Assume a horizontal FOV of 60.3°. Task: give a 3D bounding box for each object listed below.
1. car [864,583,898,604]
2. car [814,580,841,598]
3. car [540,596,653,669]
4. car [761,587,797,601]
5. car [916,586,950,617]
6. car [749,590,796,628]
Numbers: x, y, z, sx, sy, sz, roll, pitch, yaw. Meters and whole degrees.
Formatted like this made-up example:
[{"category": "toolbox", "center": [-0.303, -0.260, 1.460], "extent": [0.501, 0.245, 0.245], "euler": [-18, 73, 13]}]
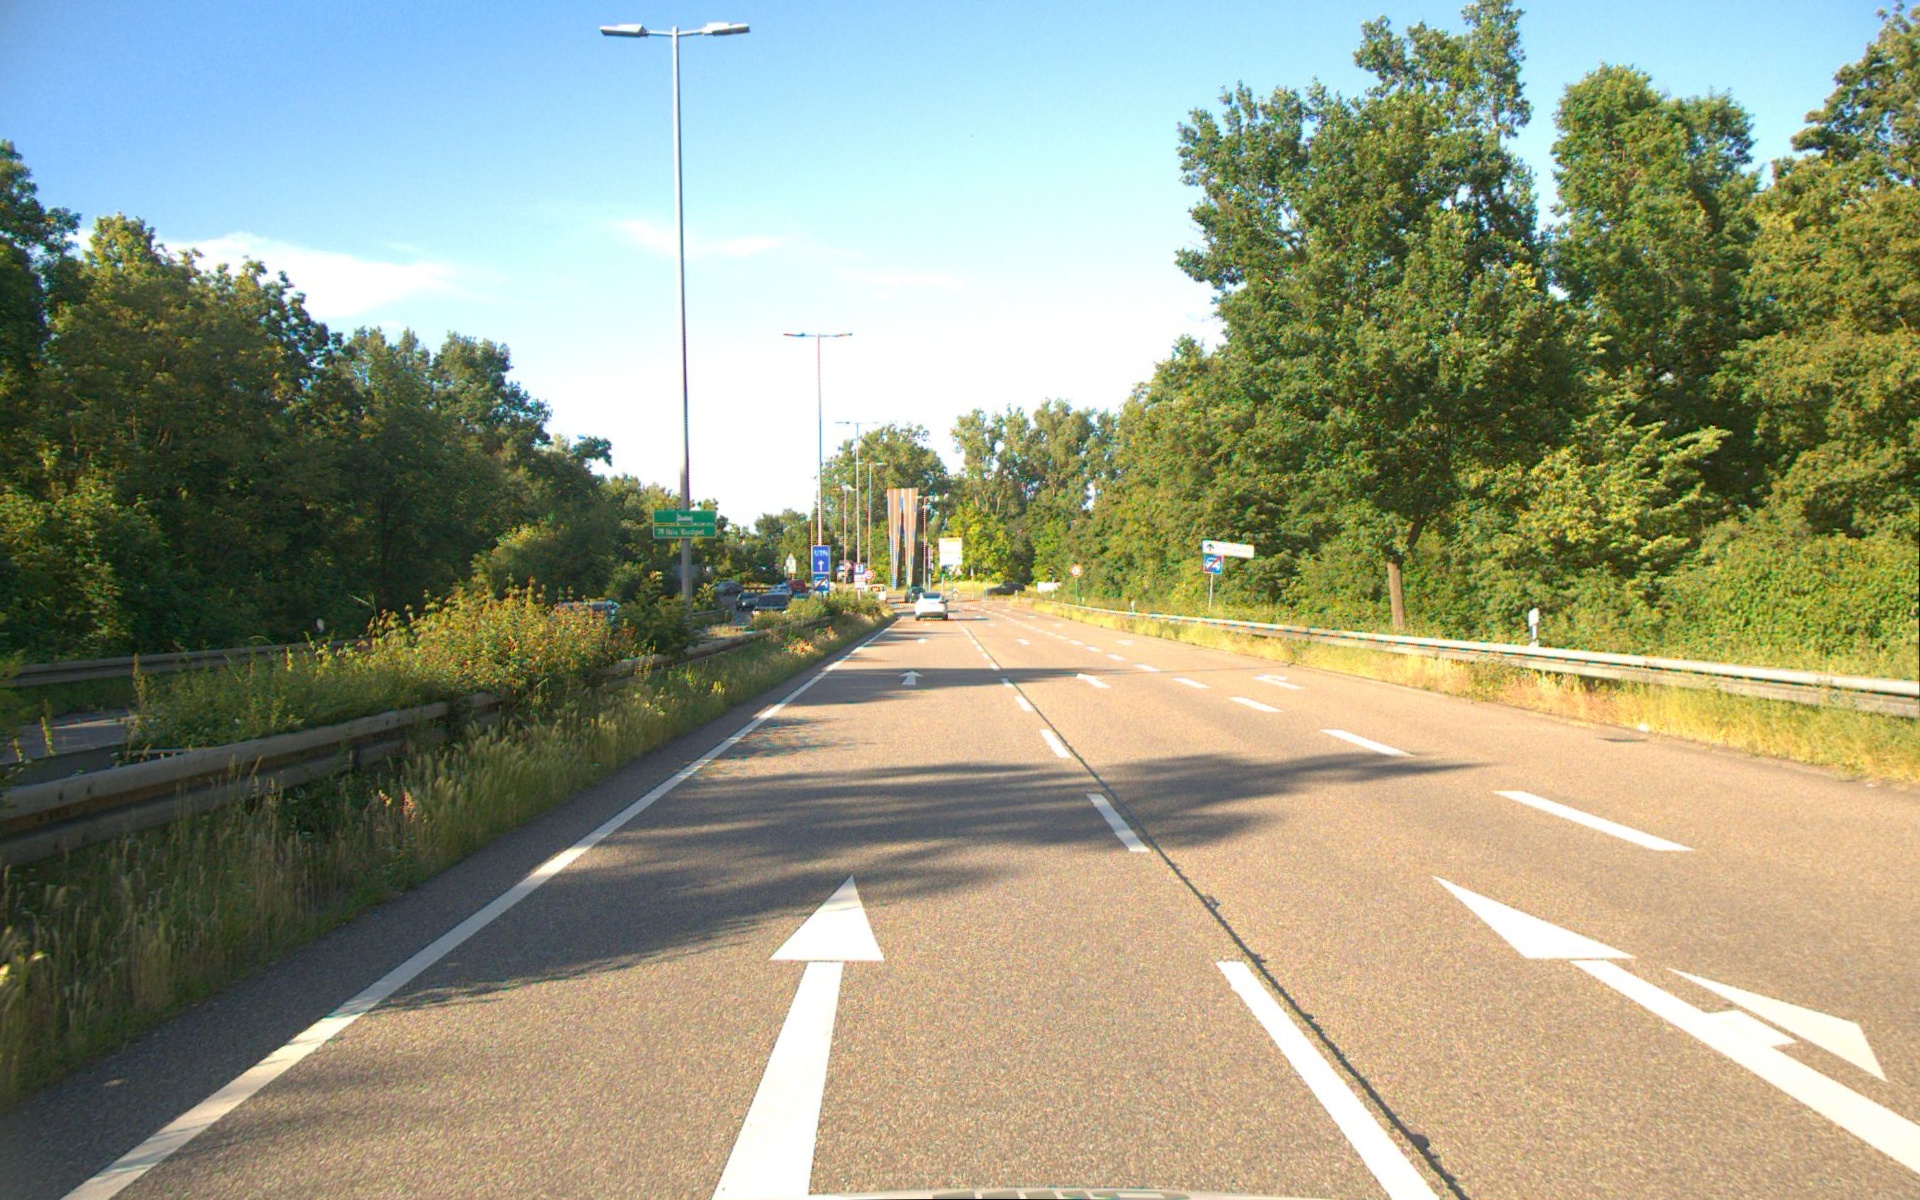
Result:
[{"category": "car", "center": [-7.488, -0.652, 155.954], "extent": [1.965, 1.912, 4.223], "euler": [-1, 1, -21]}, {"category": "car", "center": [-14.011, -1.175, 174.948], "extent": [1.939, 1.728, 3.978], "euler": [-1, 2, -19]}, {"category": "car", "center": [-8.040, 0.677, 36.910], "extent": [1.716, 1.475, 4.430], "euler": [-1, 0, -3]}, {"category": "car", "center": [-20.179, -0.642, 184.525], "extent": [2.250, 1.534, 3.946], "euler": [-1, 0, -37]}, {"category": "car", "center": [-1.592, 0.078, 96.507], "extent": [1.953, 1.668, 4.127], "euler": [-1, 1, -2]}, {"category": "car", "center": [-8.751, 0.399, 77.452], "extent": [1.749, 1.740, 4.546], "euler": [-1, 0, -1]}]
